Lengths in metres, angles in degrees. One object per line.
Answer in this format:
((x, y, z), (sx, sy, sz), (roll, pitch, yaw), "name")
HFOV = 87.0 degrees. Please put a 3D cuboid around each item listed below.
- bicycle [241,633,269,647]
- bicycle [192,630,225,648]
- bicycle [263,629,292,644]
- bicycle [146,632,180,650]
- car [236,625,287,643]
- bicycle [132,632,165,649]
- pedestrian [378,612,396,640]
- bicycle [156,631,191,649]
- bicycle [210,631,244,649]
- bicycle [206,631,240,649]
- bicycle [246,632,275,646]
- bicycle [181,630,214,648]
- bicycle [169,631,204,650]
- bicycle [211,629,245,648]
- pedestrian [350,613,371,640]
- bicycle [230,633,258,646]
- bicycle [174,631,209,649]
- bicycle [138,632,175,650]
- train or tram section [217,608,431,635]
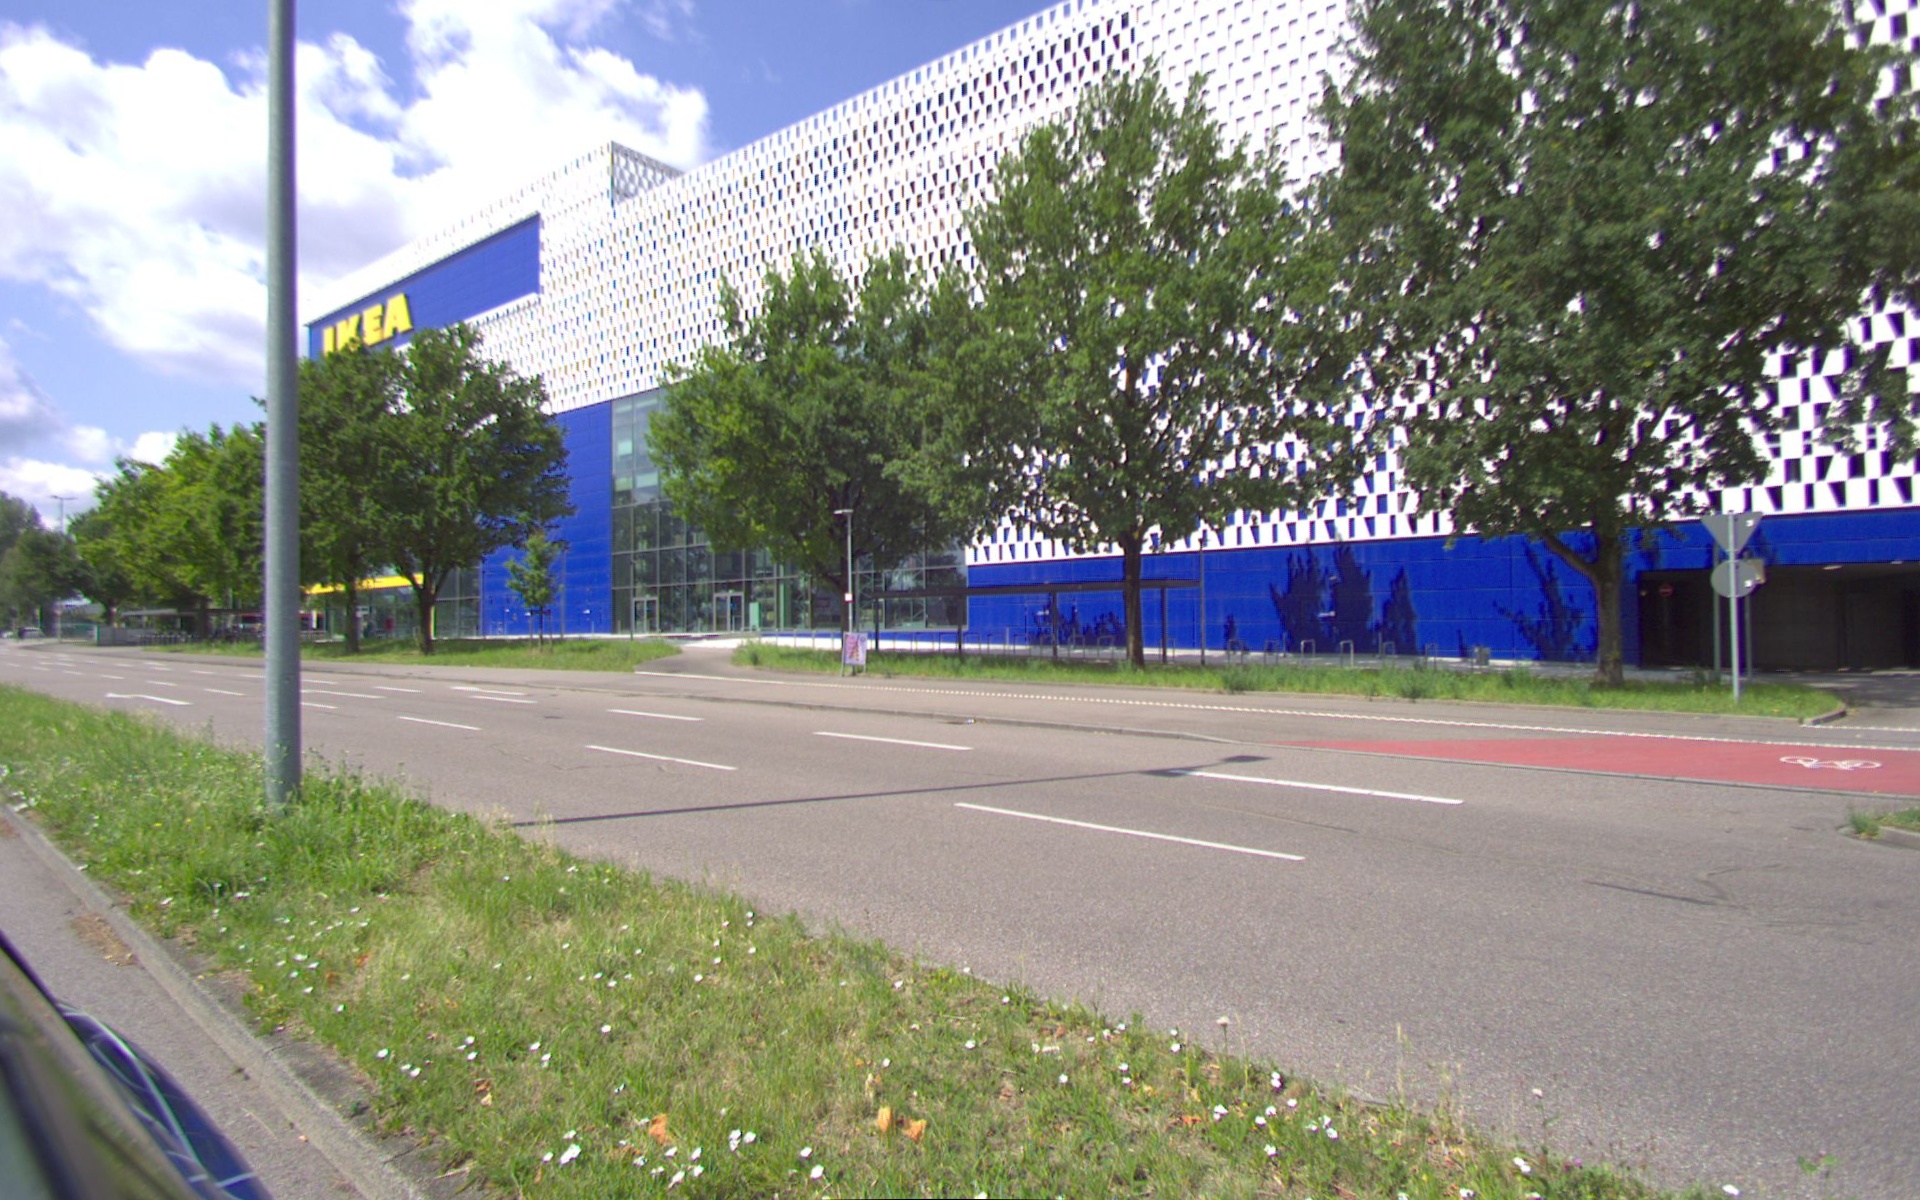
((-59.416, 3.349, 85.333), (0.519, 1.098, 1.913), (-3, -2, 35), "bicycle")
((-56.363, 2.939, 75.885), (0.629, 1.282, 1.906), (-3, -2, 38), "bicycle")
((-56.814, 3.058, 84.274), (0.527, 1.219, 1.917), (-1, -1, 34), "bicycle")
((-59.543, 3.051, 75.650), (0.629, 1.282, 1.906), (-3, -2, 38), "bicycle")
((-85.092, 4.087, 123.284), (1.996, 2.029, 4.765), (-3, -2, 35), "car")
((-62.422, 3.092, 77.878), (0.629, 1.282, 1.906), (-3, -2, 38), "bicycle")
((-37.098, 1.682, 65.524), (0.886, 1.836, 0.746), (-2, -1, 39), "pedestrian")
((-57.669, 2.940, 74.204), (0.629, 1.282, 1.906), (-3, -2, 38), "bicycle")
((-52.049, 2.821, 71.865), (0.629, 1.193, 1.906), (-3, -2, 38), "bicycle")
((-53.487, 2.901, 73.416), (0.629, 1.188, 1.906), (-3, -2, 38), "bicycle")
((-58.536, 3.262, 84.708), (0.527, 1.078, 1.917), (-1, -1, 34), "bicycle")
((-58.237, 2.987, 77.340), (0.629, 1.282, 1.906), (-3, -2, 38), "bicycle")
((-54.846, 2.870, 71.769), (0.629, 1.282, 1.906), (-3, -2, 38), "bicycle")
((-52.619, 2.767, 72.754), (0.629, 1.282, 1.906), (-3, -2, 38), "bicycle")
((-37.917, 1.660, 64.007), (0.886, 1.715, 0.941), (-2, -1, 39), "pedestrian")
((-61.536, 3.406, 87.022), (0.527, 1.078, 1.917), (-1, -1, 34), "bicycle")
((-53.949, 2.808, 71.050), (0.629, 1.192, 1.906), (-3, -2, 38), "bicycle")
((-60.570, 3.081, 76.304), (0.629, 1.282, 2.069), (-3, -2, 38), "bicycle")
((-85.740, 3.038, 137.885), (4.523, 3.055, 24.812), (-2, -3, 37), "train or tram section")
